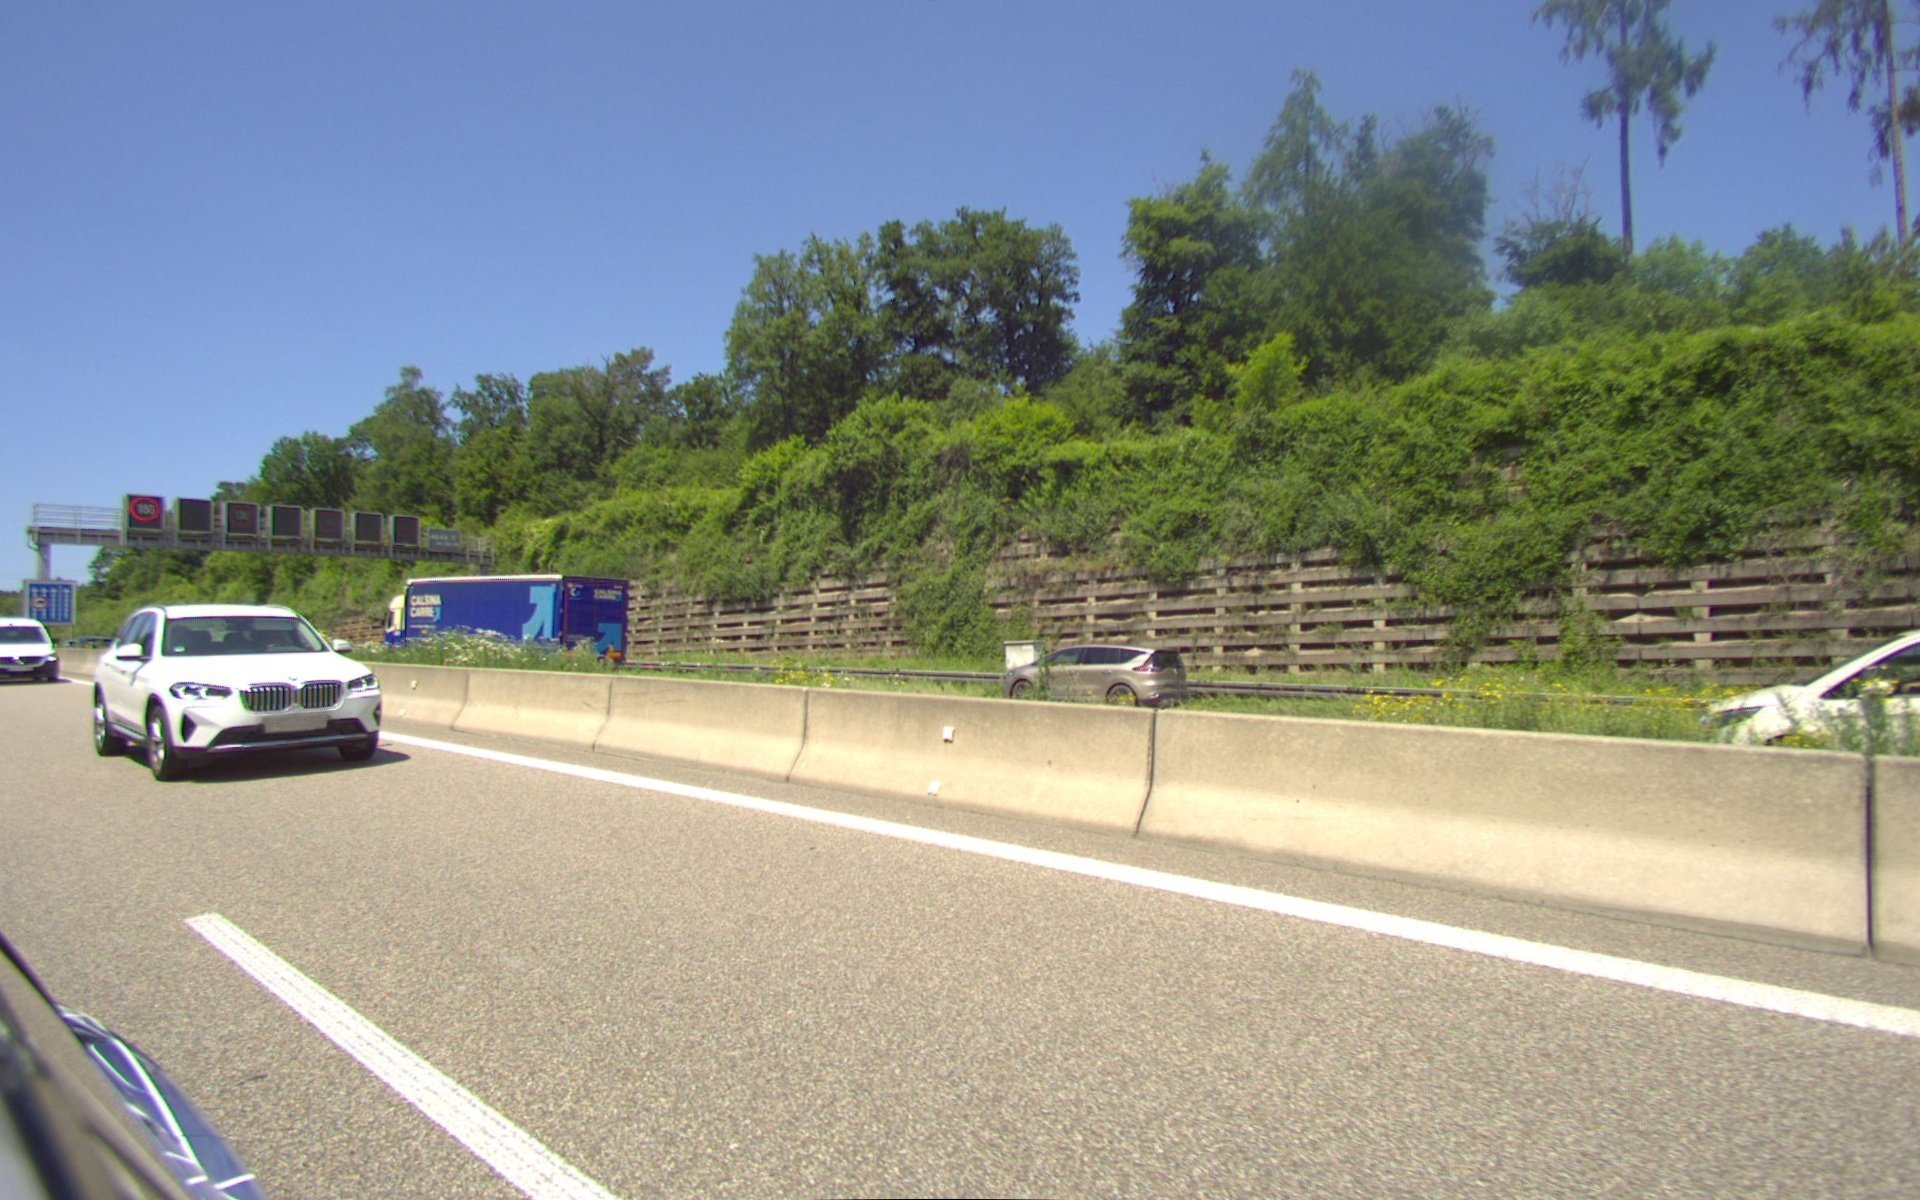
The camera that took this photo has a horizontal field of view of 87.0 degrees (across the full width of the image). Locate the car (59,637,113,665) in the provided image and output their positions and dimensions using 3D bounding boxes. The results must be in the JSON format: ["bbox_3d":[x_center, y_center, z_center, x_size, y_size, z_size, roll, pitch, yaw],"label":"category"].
[{"bbox_3d":[-49.490,2.894,57.289,4.371,1.537,1.709,-3,-4,42],"label":"car"}]

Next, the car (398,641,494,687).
[{"bbox_3d":[-17.418,2.122,34.221,3.710,1.386,1.640,-3,0,42],"label":"car"}]

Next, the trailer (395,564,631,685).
[{"bbox_3d":[-17.891,1.056,39.498,14.179,4.046,2.652,-2,-2,41],"label":"trailer"}]

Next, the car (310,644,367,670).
[{"bbox_3d":[-38.016,3.481,61.883,4.370,1.537,1.766,-3,-4,41],"label":"car"}]

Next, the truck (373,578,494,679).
[{"bbox_3d":[-22.805,1.245,43.760,5.927,4.061,2.652,-3,-2,41],"label":"truck"}]

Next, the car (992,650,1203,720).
[{"bbox_3d":[3.177,1.949,24.150,4.921,1.464,1.640,-2,-2,42],"label":"car"}]

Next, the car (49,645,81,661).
[{"bbox_3d":[-90.589,5.356,102.455,4.371,1.537,1.878,-3,-4,42],"label":"car"}]

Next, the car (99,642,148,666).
[{"bbox_3d":[-55.956,3.633,67.659,4.371,1.537,1.878,-3,-4,42],"label":"car"}]

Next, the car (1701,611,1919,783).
[{"bbox_3d":[10.305,0.895,9.614,5.076,1.619,1.872,-2,-2,42],"label":"car"}]

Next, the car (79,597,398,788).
[{"bbox_3d":[-7.934,0.889,10.961,4.365,1.656,1.826,-3,-2,41],"label":"car"}]

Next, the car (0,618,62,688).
[{"bbox_3d":[-26.458,1.471,27.977,4.500,1.788,1.972,-3,0,42],"label":"car"}]
